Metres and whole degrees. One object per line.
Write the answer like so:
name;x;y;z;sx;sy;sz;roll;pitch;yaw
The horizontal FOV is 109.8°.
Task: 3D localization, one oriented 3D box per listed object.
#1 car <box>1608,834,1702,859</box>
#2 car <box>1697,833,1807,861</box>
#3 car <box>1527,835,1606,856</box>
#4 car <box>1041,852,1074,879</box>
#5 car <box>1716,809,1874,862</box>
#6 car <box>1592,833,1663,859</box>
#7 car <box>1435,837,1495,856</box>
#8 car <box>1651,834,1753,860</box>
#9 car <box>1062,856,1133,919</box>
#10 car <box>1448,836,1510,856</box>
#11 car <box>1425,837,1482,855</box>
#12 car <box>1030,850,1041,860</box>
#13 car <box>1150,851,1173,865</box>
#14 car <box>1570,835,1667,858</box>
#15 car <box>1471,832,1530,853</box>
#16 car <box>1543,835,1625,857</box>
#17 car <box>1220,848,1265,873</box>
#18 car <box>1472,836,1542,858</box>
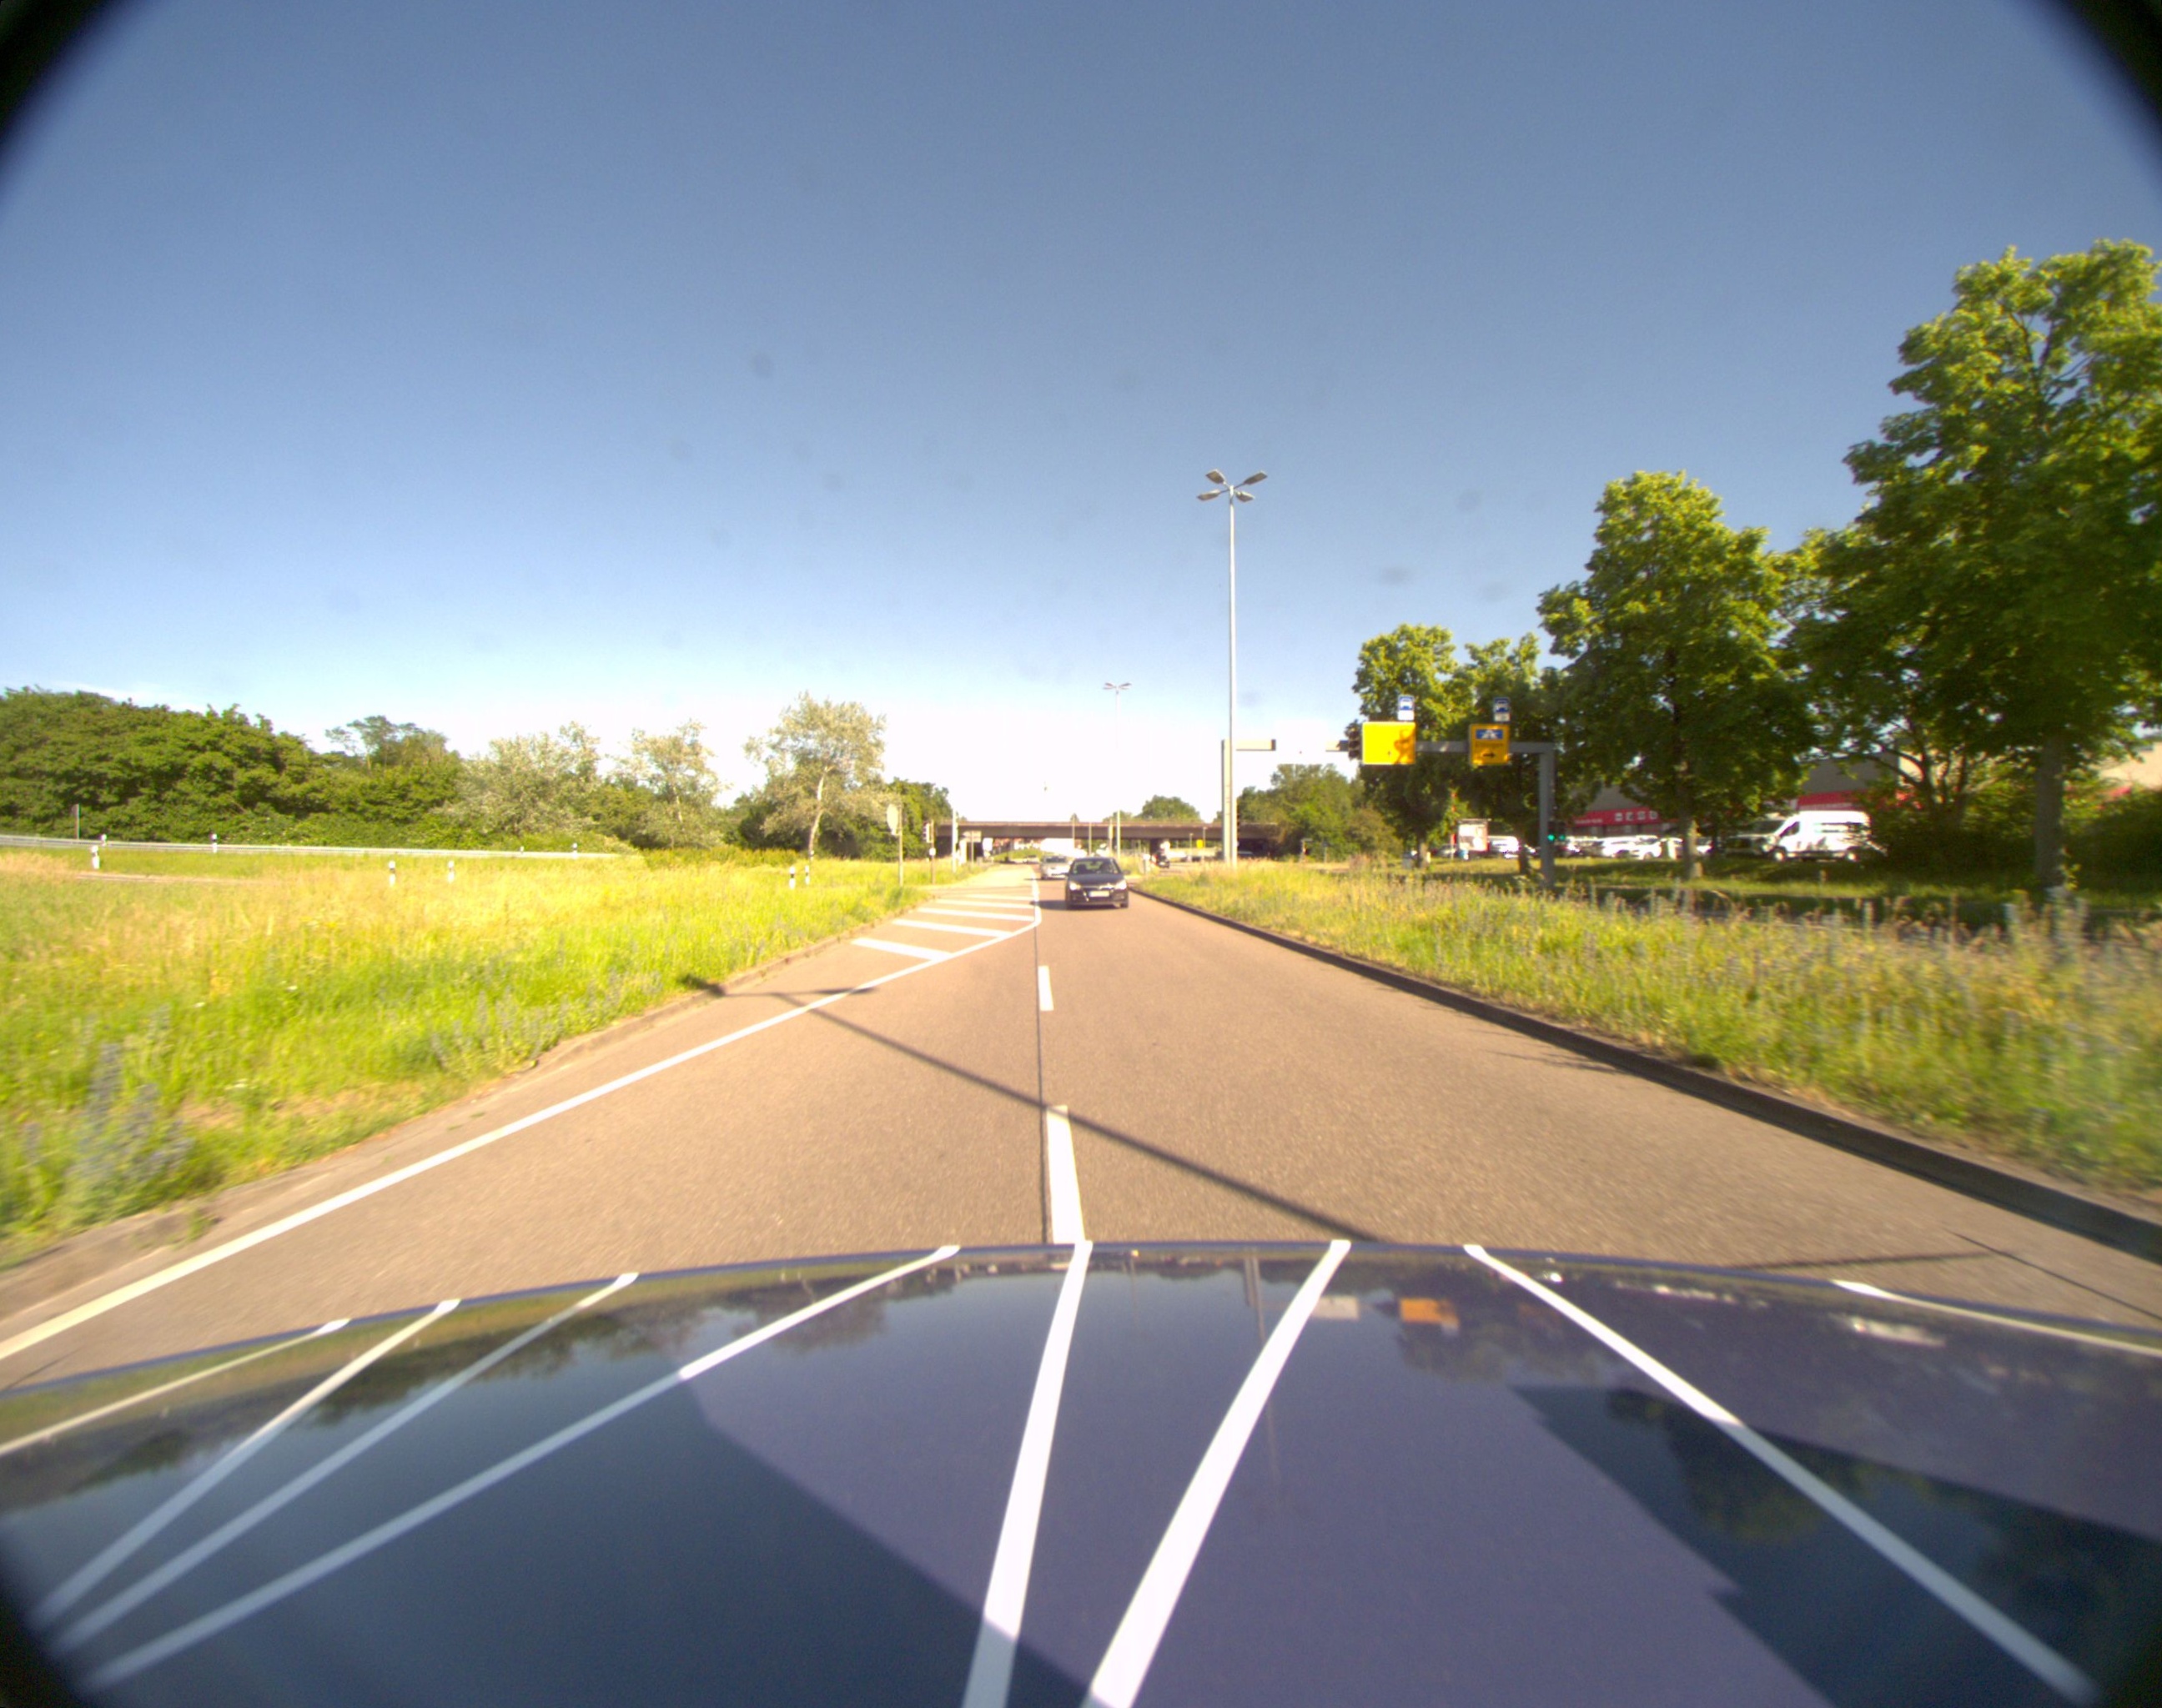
car;33.046;-0.413;43.809;4.131;1.380;1.945;0;0;-7
car;34.105;-0.352;38.704;4.131;1.380;1.945;0;0;-7
car;32.635;-0.536;51.164;4.130;1.380;1.945;0;0;-5
car;-1.421;0.645;45.436;1.827;1.528;4.040;-1;1;-4
car;33.830;-0.838;36.078;5.896;2.419;2.205;0;1;-7
car;41.522;-0.600;57.905;1.784;1.945;5.129;0;0;0
car;32.391;-0.644;64.239;4.126;1.542;1.896;0;0;7
car;33.708;-0.386;41.293;4.131;1.380;1.945;0;0;-7
car;0.495;0.832;20.888;1.706;1.447;3.959;-2;1;3
car;32.347;-0.631;61.858;4.128;1.542;1.818;0;0;1
car;32.673;-0.689;66.670;4.125;1.542;1.897;0;0;9
car;-7.824;0.177;130.651;1.827;1.528;4.041;-1;0;-2
car;9.200;0.485;87.348;1.881;1.534;4.570;1;0;-3
car;32.888;-0.470;46.587;4.632;1.380;1.946;0;0;-3
car;43.577;-1.170;79.022;1.899;2.139;5.033;-1;0;-36
car;32.302;-0.487;48.843;4.131;1.380;1.945;0;0;-7
car;11.308;0.447;53.515;1.947;1.687;4.628;1;0;-4
car;31.652;-0.521;56.510;4.129;1.542;1.946;0;0;-1
